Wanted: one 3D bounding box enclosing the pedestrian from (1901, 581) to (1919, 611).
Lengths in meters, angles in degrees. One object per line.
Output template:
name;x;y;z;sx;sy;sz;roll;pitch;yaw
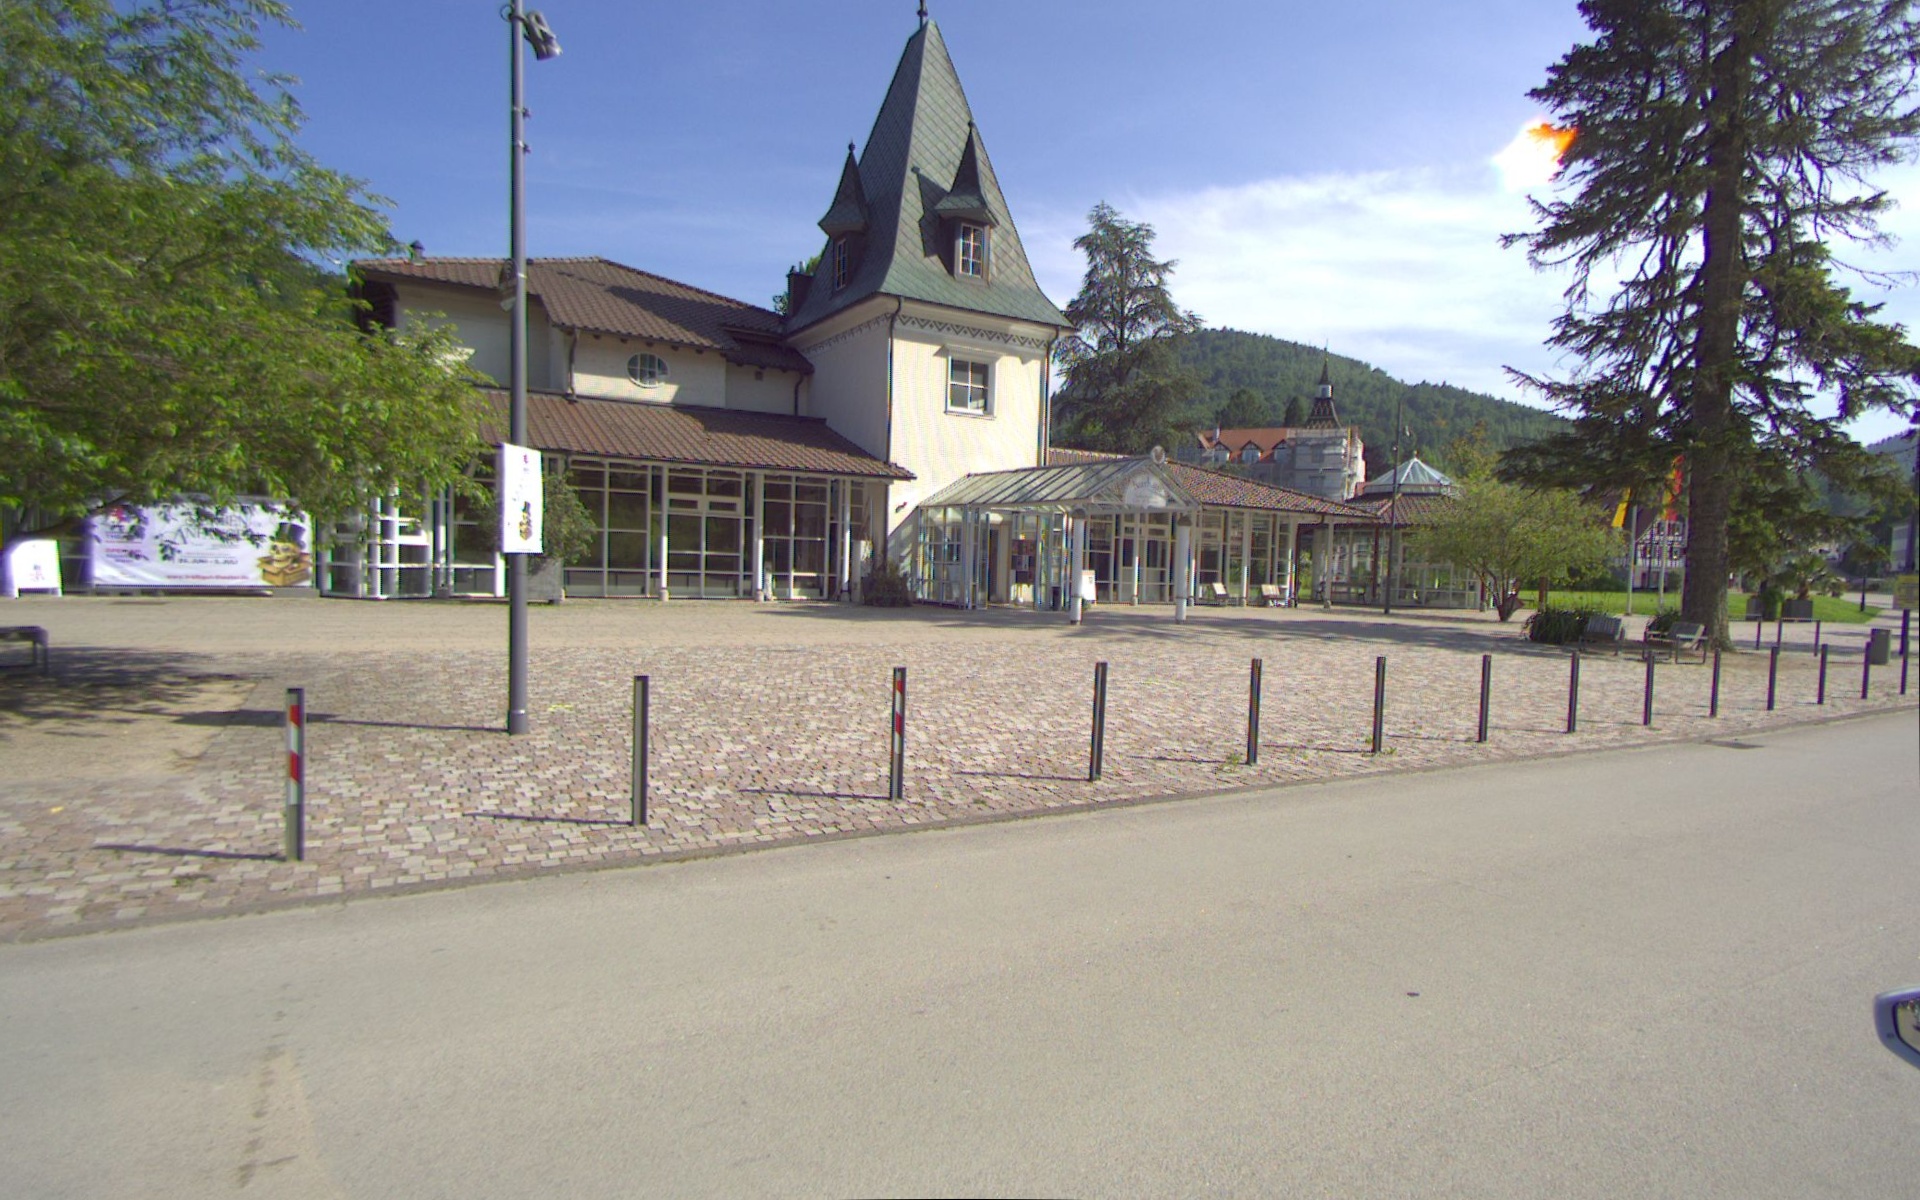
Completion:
pedestrian;60.303;-0.244;63.567;0.854;1.839;0.689;4;4;32
